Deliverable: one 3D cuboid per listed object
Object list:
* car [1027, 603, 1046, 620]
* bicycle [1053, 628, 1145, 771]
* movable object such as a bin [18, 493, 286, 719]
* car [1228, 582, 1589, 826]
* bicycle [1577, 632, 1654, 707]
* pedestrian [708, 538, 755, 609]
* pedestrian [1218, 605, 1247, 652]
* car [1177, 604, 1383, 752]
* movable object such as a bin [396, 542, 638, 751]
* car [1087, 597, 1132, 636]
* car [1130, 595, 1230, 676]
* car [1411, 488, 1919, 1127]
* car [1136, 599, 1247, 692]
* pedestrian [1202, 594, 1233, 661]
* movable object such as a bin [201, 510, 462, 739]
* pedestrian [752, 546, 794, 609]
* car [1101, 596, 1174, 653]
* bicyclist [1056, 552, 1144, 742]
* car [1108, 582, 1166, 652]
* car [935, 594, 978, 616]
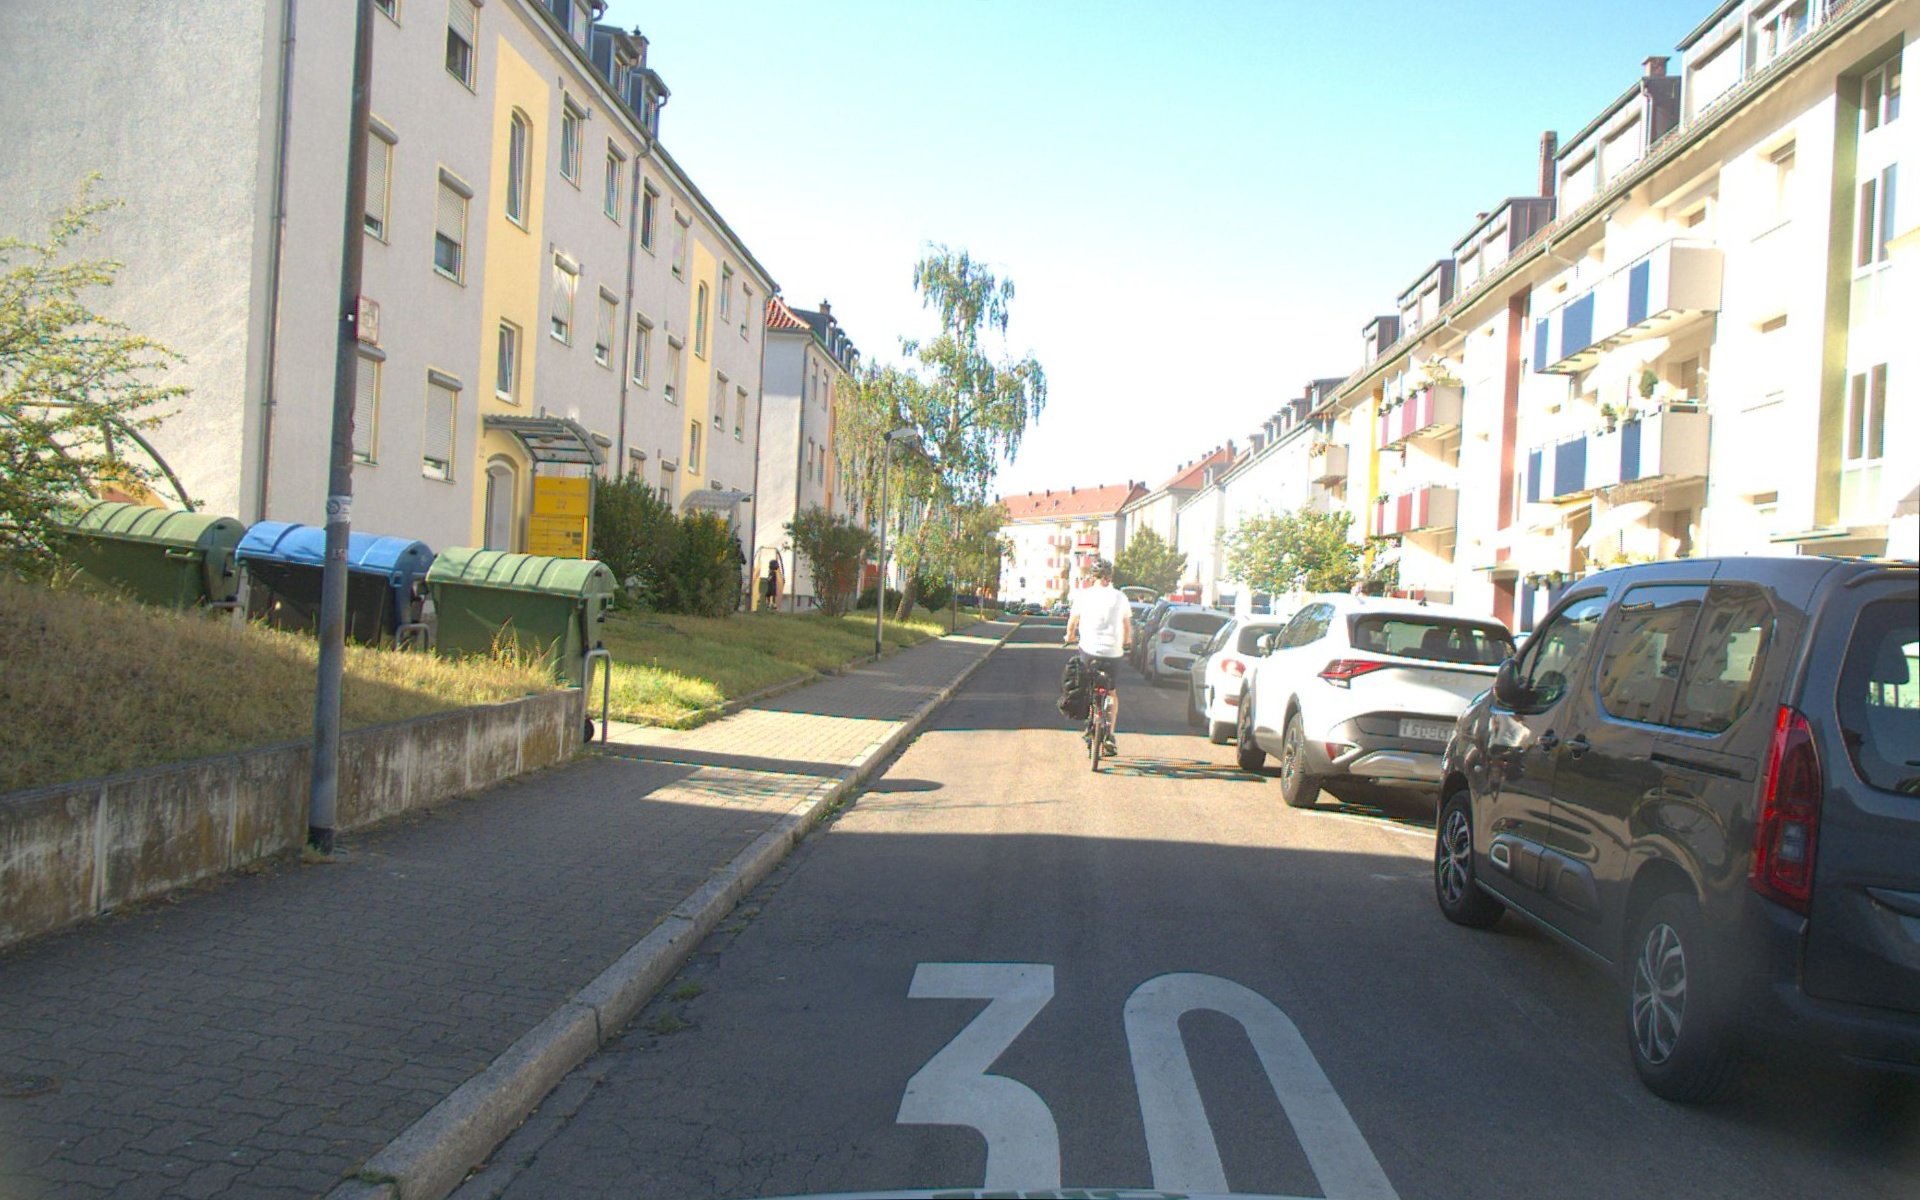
[{"bbox_3d":[7.853,1.147,169.875,1.721,1.603,3.903,2,0,-1],"label":"car"},{"bbox_3d":[1.225,0.856,14.846,0.647,1.147,1.766,4,0,1],"label":"bicycle"},{"bbox_3d":[-6.383,0.046,13.161,1.429,1.641,1.191,3,0,3],"label":"movable object such as a bin"},{"bbox_3d":[3.504,0.740,13.761,1.942,1.619,4.125,3,0,2],"label":"car"},{"bbox_3d":[10.228,1.071,25.851,0.503,1.072,1.866,3,0,3],"label":"bicycle"},{"bbox_3d":[-5.883,-0.678,42.669,0.950,1.745,0.947,3,0,3],"label":"pedestrian"},{"bbox_3d":[9.993,1.044,60.606,0.699,1.707,0.790,2,0,35],"label":"pedestrian"},{"bbox_3d":[3.619,0.828,19.283,1.721,1.457,3.629,4,0,2],"label":"car"},{"bbox_3d":[-3.476,0.354,13.152,1.461,1.504,1.265,3,0,3],"label":"movable object such as a bin"},{"bbox_3d":[6.775,0.724,75.318,1.768,1.632,4.406,3,0,3],"label":"car"},{"bbox_3d":[4.765,0.748,36.322,1.797,1.585,4.001,3,0,3],"label":"car"},{"bbox_3d":[3.272,0.627,6.746,1.825,1.760,4.296,3,0,3],"label":"car"},{"bbox_3d":[4.332,0.820,31.392,1.598,1.516,3.624,5,0,2],"label":"car"},{"bbox_3d":[8.068,0.845,51.916,0.774,2.049,1.083,2,0,3],"label":"pedestrian"},{"bbox_3d":[-4.938,0.187,13.129,1.468,1.651,1.264,3,0,3],"label":"movable object such as a bin"},{"bbox_3d":[-4.834,-0.572,42.824,0.845,1.548,1.068,3,0,3],"label":"pedestrian"},{"bbox_3d":[5.255,0.722,49.422,1.855,1.522,4.093,3,0,3],"label":"car"},{"bbox_3d":[1.249,0.413,14.847,0.679,1.624,0.791,3,-1,2],"label":"bicyclist"},{"bbox_3d":[5.877,0.549,55.236,1.585,2.181,4.001,3,0,3],"label":"car"},{"bbox_3d":[-0.323,0.438,154.088,3.904,1.832,2.000,3,0,2],"label":"car"}]
